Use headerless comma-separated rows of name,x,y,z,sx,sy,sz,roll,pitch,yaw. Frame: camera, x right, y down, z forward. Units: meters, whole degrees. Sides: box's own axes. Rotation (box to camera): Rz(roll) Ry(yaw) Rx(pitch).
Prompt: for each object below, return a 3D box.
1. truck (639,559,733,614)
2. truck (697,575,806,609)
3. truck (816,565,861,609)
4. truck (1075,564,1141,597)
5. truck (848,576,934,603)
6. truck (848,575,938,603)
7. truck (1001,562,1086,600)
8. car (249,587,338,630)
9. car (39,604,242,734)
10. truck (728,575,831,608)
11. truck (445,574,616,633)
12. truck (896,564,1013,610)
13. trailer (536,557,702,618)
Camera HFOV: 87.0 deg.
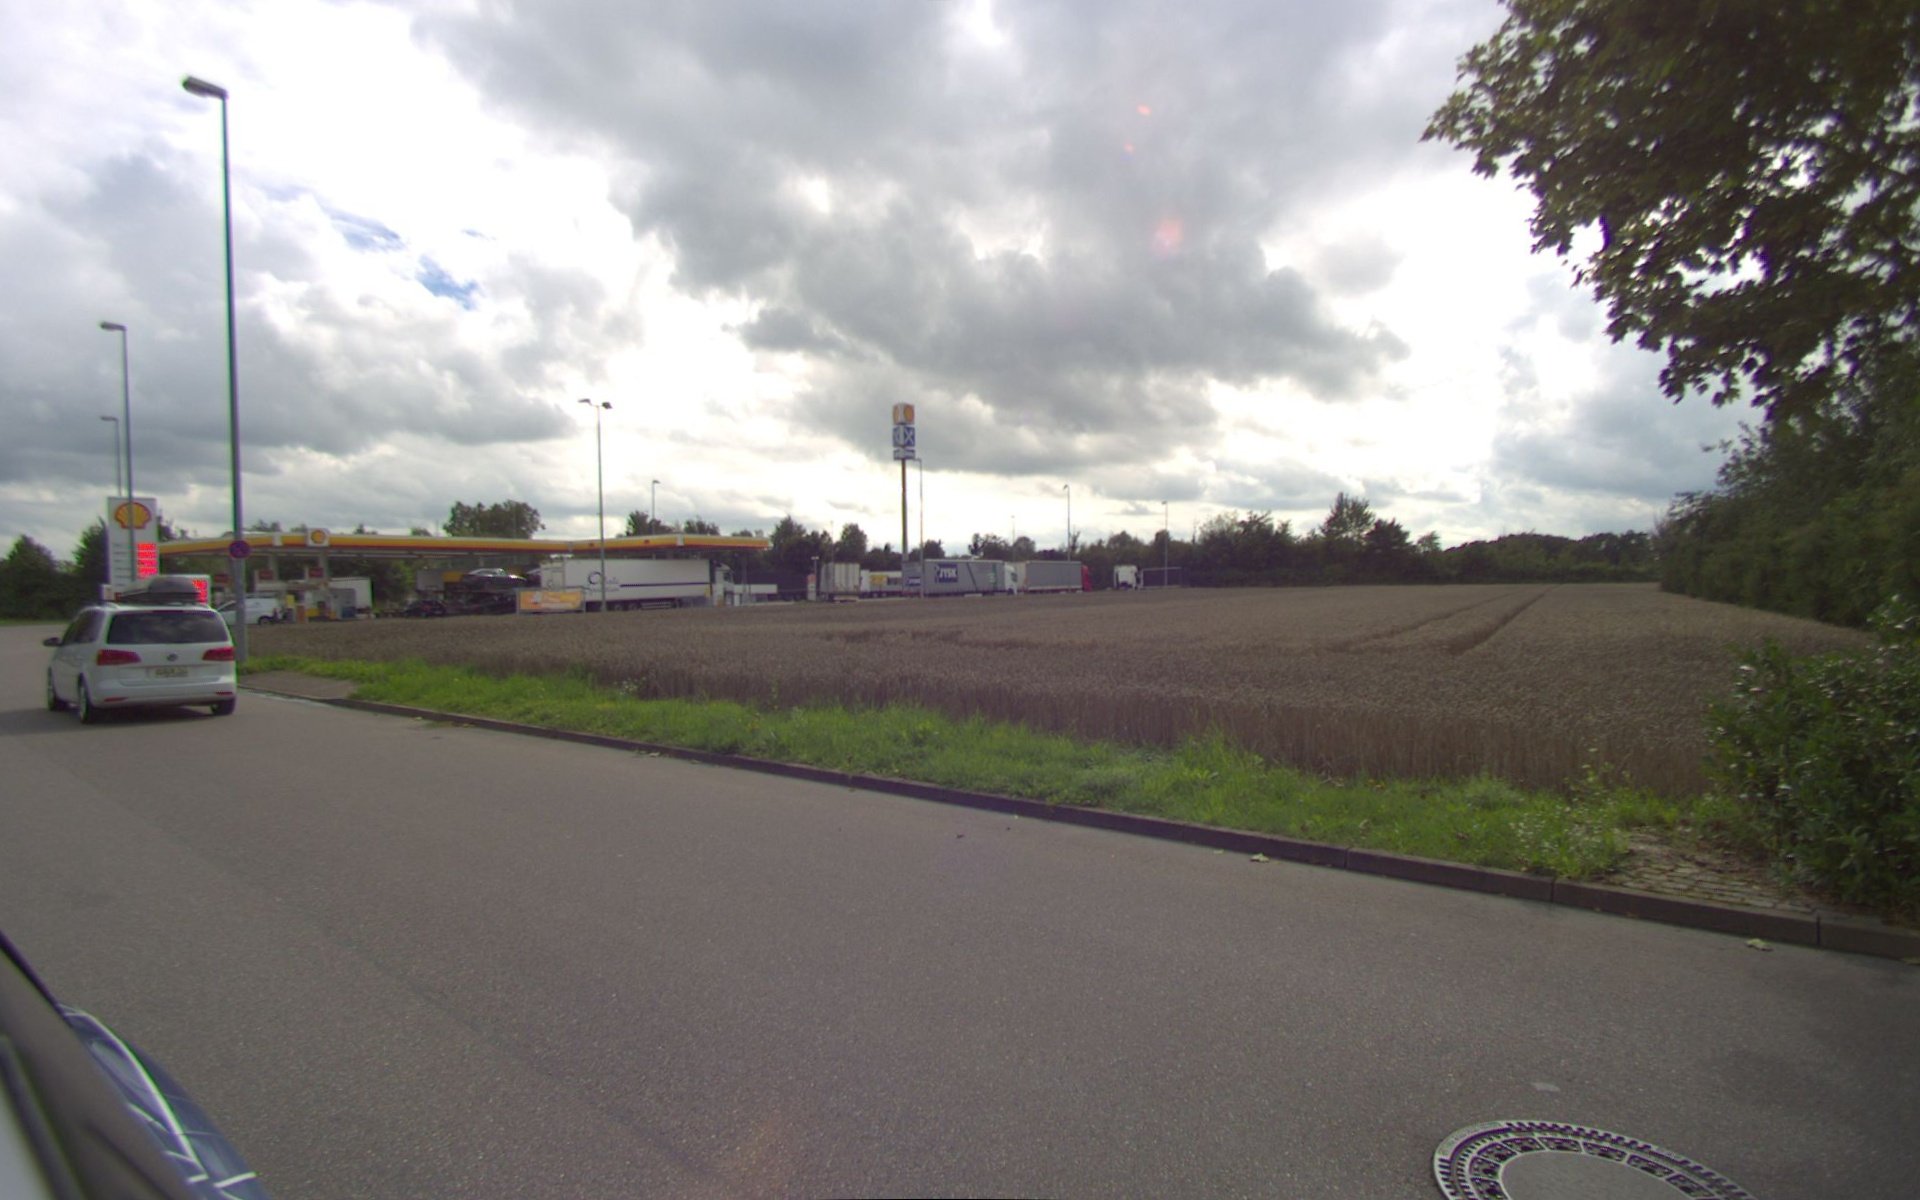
truck,-21.435,-1.099,79.623,2.704,4.055,7.091,-2,0,32
truck,-24.914,-0.984,121.298,12.595,3.922,2.832,-1,1,-13
truck,-12.396,-1.326,102.276,2.914,4.143,14.788,-1,1,-13
truck,18.527,-2.465,125.795,2.817,3.922,12.660,0,1,34
truck,-10.421,-1.626,152.442,12.595,3.922,2.832,-1,1,-13
truck,-9.732,-1.616,146.947,12.595,3.922,2.832,-1,1,-13
truck,9.360,-2.107,110.458,2.814,3.922,15.299,0,1,31
car,-45.864,0.541,69.840,2.193,2.808,5.808,-2,0,0
car,-12.287,0.923,15.094,4.030,1.678,1.681,-1,-1,41
truck,-22.974,-1.103,128.897,12.799,3.922,2.831,-1,1,-12
truck,-30.850,0.103,73.797,2.736,3.953,13.151,0,1,24
truck,-0.195,-1.309,94.638,2.817,3.922,15.282,0,1,34
trailer,-24.669,-0.947,74.340,2.704,4.055,12.709,-2,0,32
